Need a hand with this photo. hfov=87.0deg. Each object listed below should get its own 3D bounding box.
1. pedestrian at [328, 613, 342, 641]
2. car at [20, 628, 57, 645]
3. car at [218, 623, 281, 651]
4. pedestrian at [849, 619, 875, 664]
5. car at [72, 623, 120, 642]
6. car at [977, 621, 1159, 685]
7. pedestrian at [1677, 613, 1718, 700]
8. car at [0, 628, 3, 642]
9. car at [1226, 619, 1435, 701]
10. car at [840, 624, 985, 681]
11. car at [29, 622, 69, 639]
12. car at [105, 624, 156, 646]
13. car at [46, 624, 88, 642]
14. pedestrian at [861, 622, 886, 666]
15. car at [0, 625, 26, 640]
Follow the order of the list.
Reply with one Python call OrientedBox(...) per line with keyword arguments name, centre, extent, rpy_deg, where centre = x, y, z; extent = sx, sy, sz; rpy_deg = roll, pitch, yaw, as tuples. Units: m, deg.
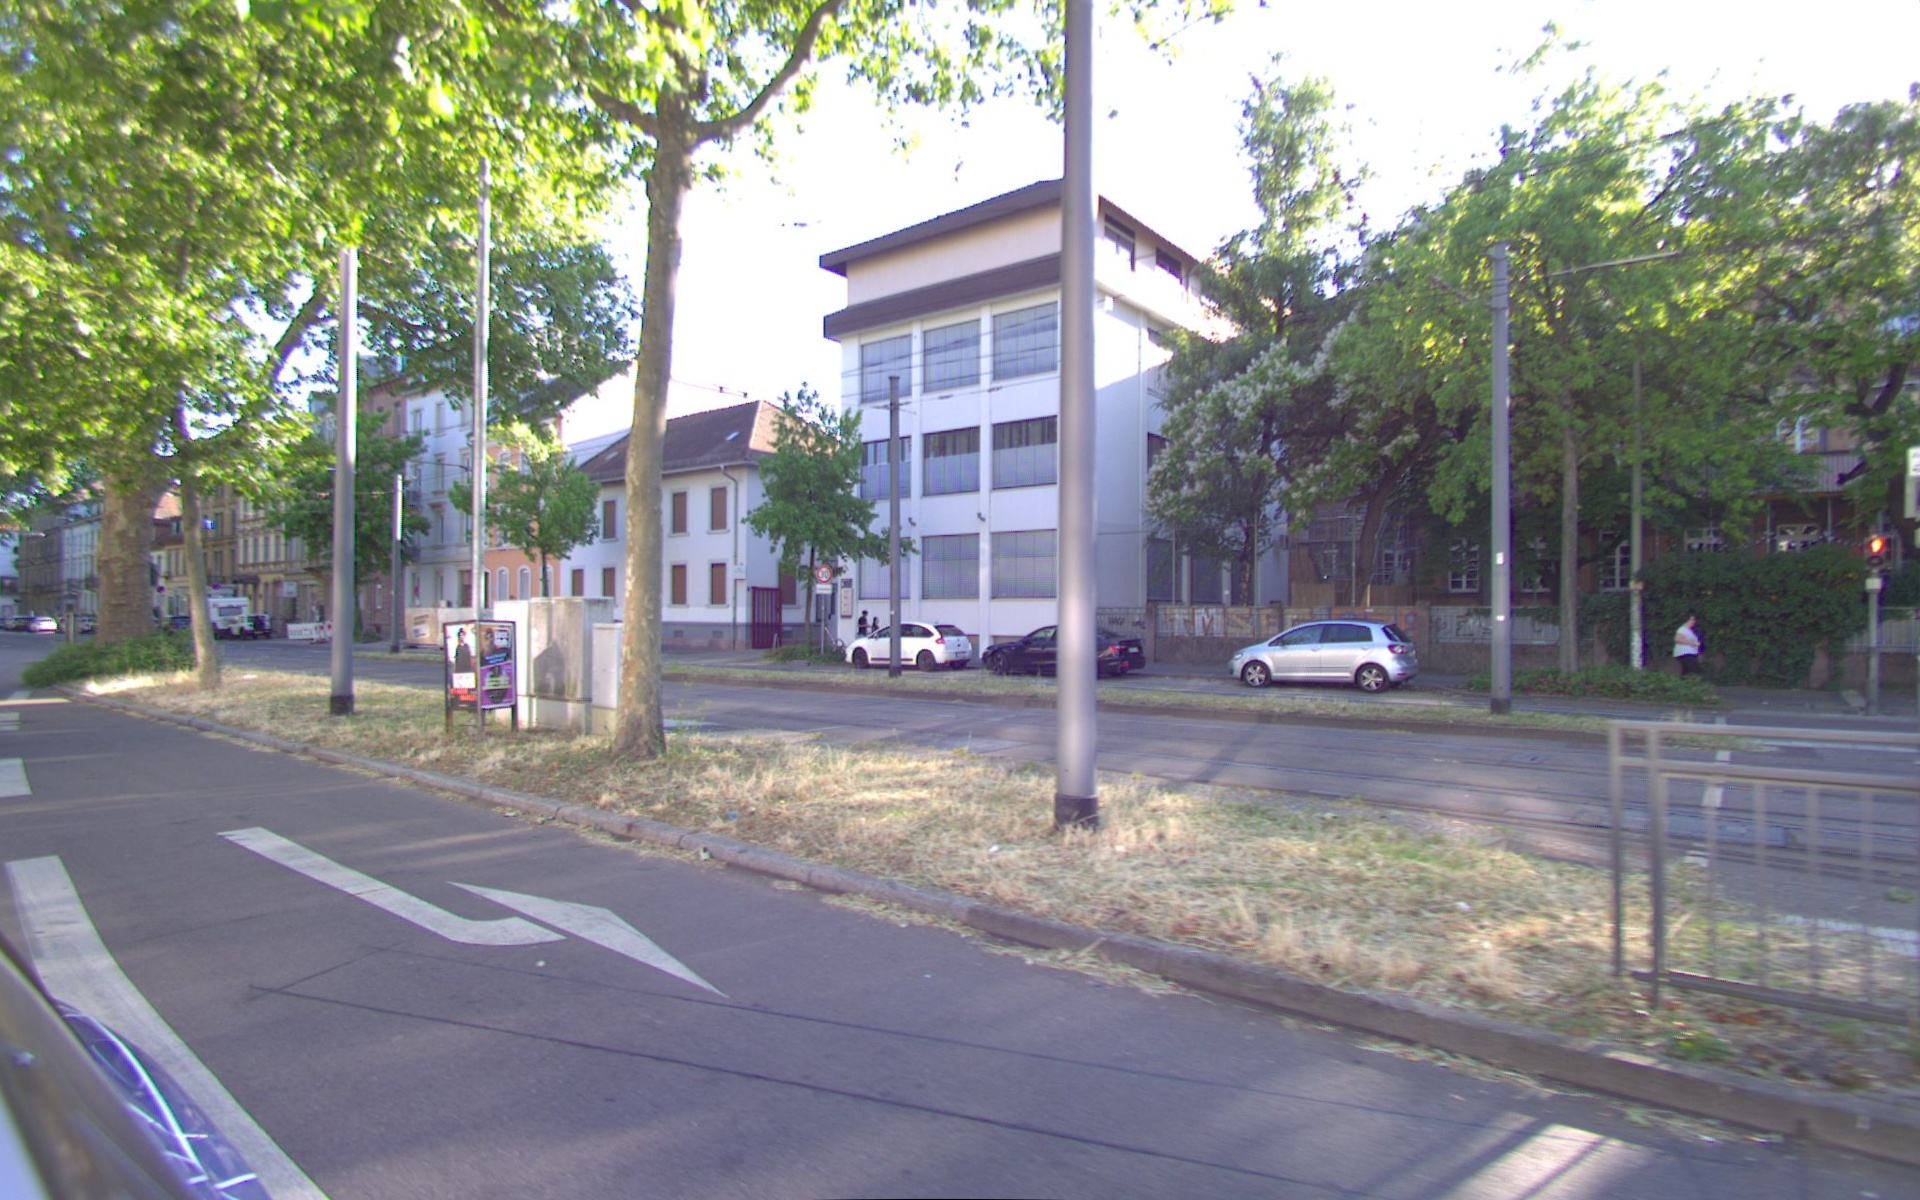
OrientedBox(name="pedestrian", centre=(-41.160, 1.752, 66.627), extent=(0.703, 1.823, 0.555), rpy_deg=(-1, -2, 35))
OrientedBox(name="car", centre=(-94.934, 3.726, 104.237), extent=(4.248, 1.551, 2.063), rpy_deg=(-1, 1, 36))
OrientedBox(name="car", centre=(-46.915, 2.404, 66.838), extent=(4.524, 1.686, 2.063), rpy_deg=(-1, 1, 36))
OrientedBox(name="pedestrian", centre=(-3.408, 1.430, 35.177), extent=(0.709, 1.540, 0.531), rpy_deg=(-1, -2, 32))
OrientedBox(name="car", centre=(-75.726, 2.850, 88.659), extent=(5.095, 1.551, 2.063), rpy_deg=(-1, 1, 36))
OrientedBox(name="car", centre=(2.860, 1.355, 27.209), extent=(4.449, 1.513, 2.063), rpy_deg=(-1, 1, 36))
OrientedBox(name="pedestrian", centre=(14.722, 1.108, 20.200), extent=(0.630, 1.677, 0.562), rpy_deg=(-1, 1, 37))
OrientedBox(name="car", centre=(-115.296, 4.181, 119.893), extent=(4.112, 1.551, 2.063), rpy_deg=(-1, 1, 36))
OrientedBox(name="car", centre=(8.481, 1.295, 23.259), extent=(4.090, 1.631, 2.063), rpy_deg=(-1, 1, 36))
OrientedBox(name="car", centre=(-1.472, 1.542, 30.832), extent=(3.989, 1.501, 2.063), rpy_deg=(-1, 1, 36))
OrientedBox(name="car", centre=(-87.746, 2.927, 97.481), extent=(4.090, 1.551, 2.063), rpy_deg=(-1, 1, 36))
OrientedBox(name="car", centre=(-65.745, 2.746, 80.180), extent=(4.508, 1.551, 2.063), rpy_deg=(-1, 1, 36))
OrientedBox(name="car", centre=(-82.921, 3.059, 93.966), extent=(4.031, 1.551, 2.063), rpy_deg=(-1, 1, 36))
OrientedBox(name="pedestrian", centre=(-3.051, 1.537, 35.880), extent=(0.711, 1.540, 0.530), rpy_deg=(-1, -2, 38))
OrientedBox(name="car", centre=(-103.500, 3.516, 110.099), extent=(4.001, 1.551, 2.063), rpy_deg=(-1, 1, 36))
